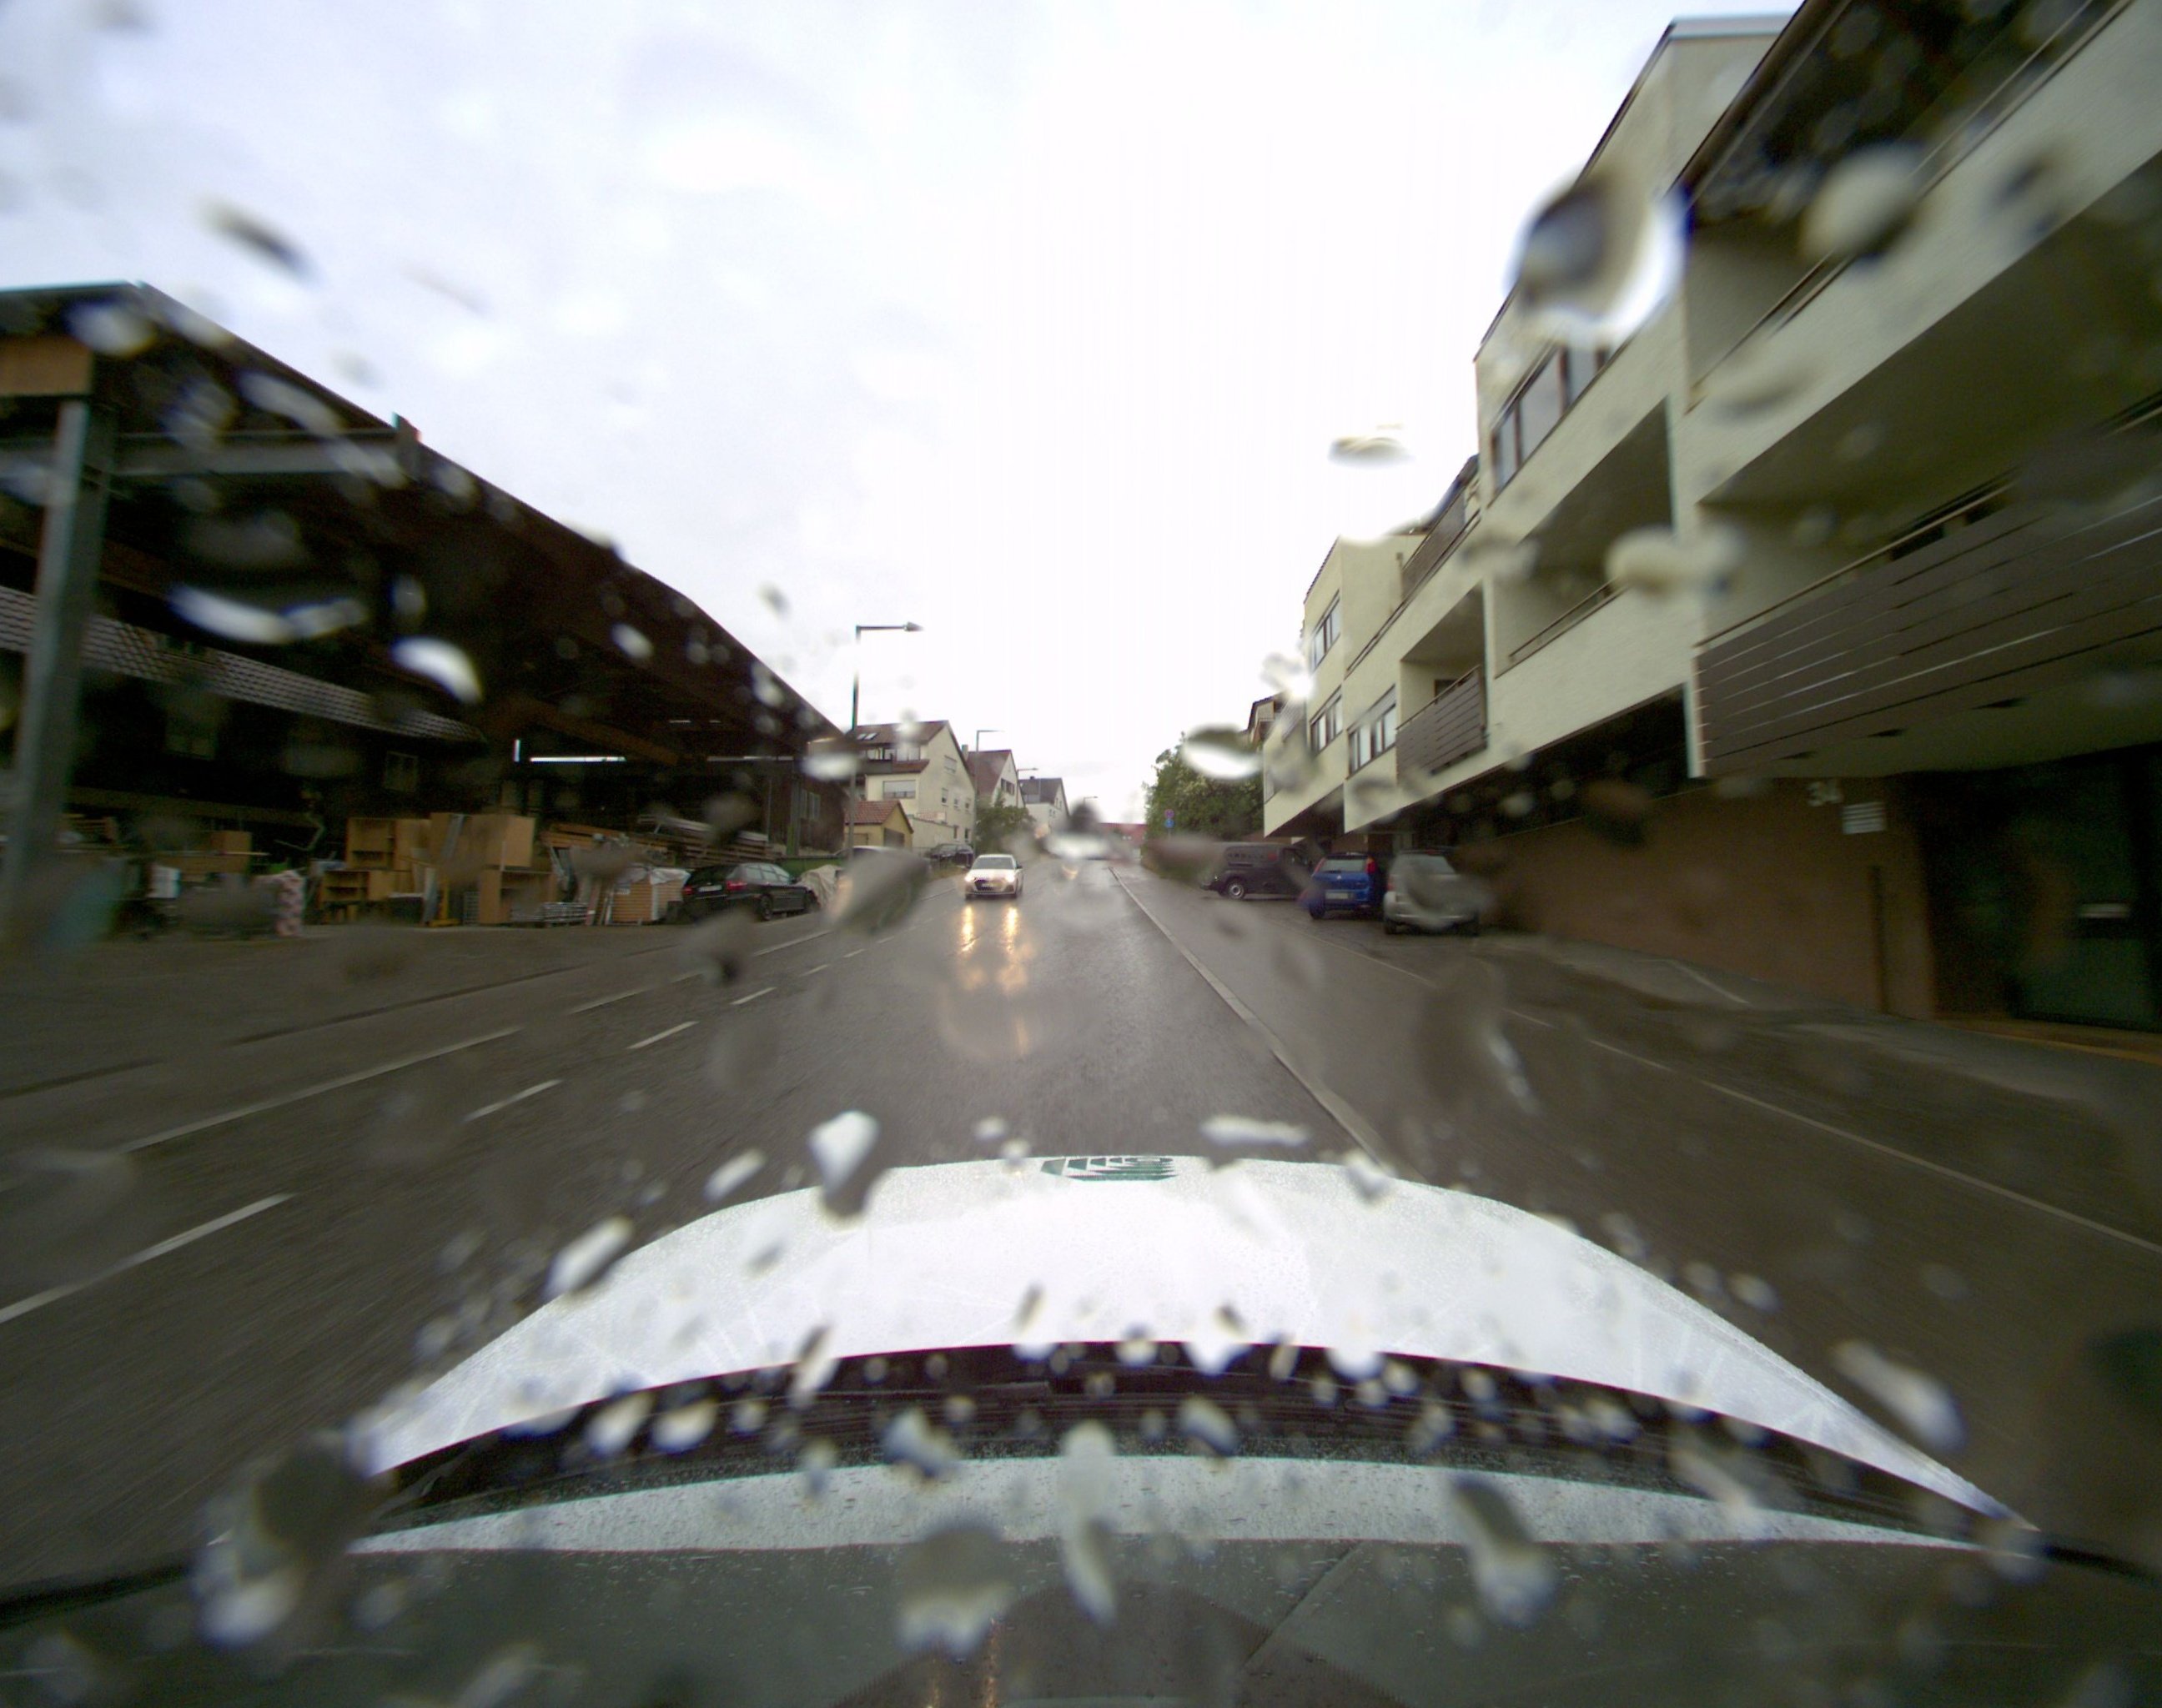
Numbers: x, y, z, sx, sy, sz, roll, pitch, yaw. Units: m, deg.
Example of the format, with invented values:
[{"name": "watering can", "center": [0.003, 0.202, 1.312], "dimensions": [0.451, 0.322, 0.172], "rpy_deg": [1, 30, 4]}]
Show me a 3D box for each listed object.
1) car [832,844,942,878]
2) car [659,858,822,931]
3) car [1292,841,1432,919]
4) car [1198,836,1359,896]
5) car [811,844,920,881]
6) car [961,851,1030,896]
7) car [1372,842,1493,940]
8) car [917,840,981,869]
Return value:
[{"name": "car", "center": [-8.844, 0.290, 37.287], "dimensions": [4.466, 1.505, 1.907], "rpy_deg": [0, 0, 12]}, {"name": "car", "center": [-8.011, 0.883, 19.690], "dimensions": [1.887, 1.441, 4.448], "rpy_deg": [-2, 1, 2]}, {"name": "car", "center": [6.586, 0.544, 18.842], "dimensions": [1.765, 1.578, 4.092], "rpy_deg": [2, 1, 38]}, {"name": "car", "center": [6.243, 0.357, 26.096], "dimensions": [4.692, 1.820, 2.000], "rpy_deg": [-1, 1, 0]}, {"name": "car", "center": [-8.995, 0.332, 34.147], "dimensions": [3.960, 1.505, 1.907], "rpy_deg": [0, 0, 12]}, {"name": "car", "center": [-2.886, 0.629, 28.248], "dimensions": [1.695, 1.388, 4.054], "rpy_deg": [-2, 0, 3]}, {"name": "car", "center": [6.850, 0.617, 15.644], "dimensions": [1.765, 1.578, 4.091], "rpy_deg": [2, 1, 28]}, {"name": "car", "center": [-7.833, 0.016, 48.895], "dimensions": [1.960, 1.659, 4.981], "rpy_deg": [0, 1, 13]}]
